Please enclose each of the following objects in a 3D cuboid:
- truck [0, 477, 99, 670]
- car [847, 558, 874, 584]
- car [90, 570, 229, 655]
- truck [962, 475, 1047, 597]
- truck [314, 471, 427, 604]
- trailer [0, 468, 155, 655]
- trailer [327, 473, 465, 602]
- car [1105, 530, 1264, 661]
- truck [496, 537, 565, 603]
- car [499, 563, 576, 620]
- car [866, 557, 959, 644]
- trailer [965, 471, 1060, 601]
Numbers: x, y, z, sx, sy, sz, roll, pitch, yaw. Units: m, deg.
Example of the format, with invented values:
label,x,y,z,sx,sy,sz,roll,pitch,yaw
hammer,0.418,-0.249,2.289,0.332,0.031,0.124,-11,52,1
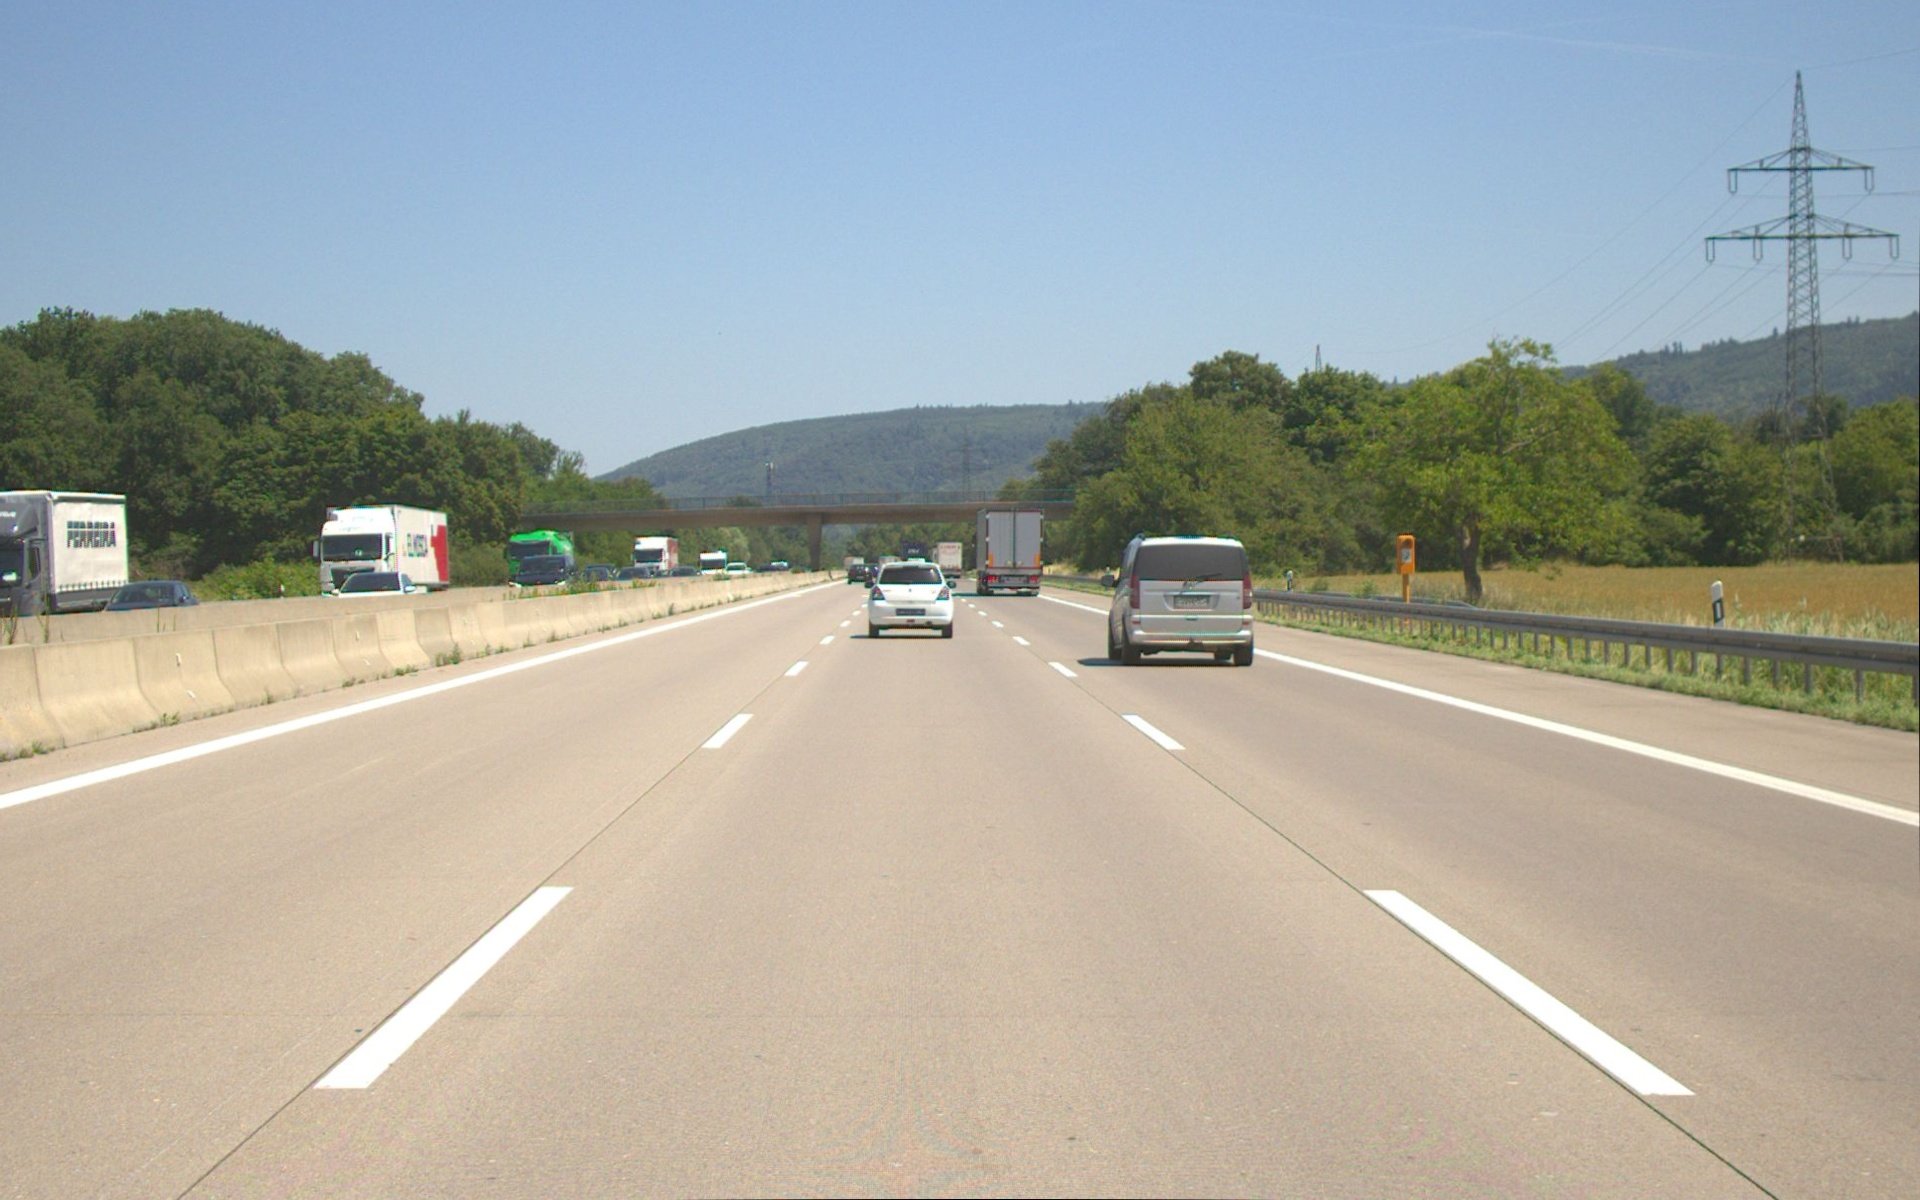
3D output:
label,x,y,z,sx,sy,sz,roll,pitch,yaw
truck,-21.120,-0.618,75.830,2.953,4.113,5.086,1,1,0
car,-7.092,-2.065,245.861,1.928,1.787,4.000,1,1,-1
car,-17.723,0.247,76.323,1.993,1.751,4.715,1,1,-1
truck,2.124,-3.109,167.075,3.720,5.791,7.054,1,1,-2
truck,-21.797,-2.320,127.421,3.082,4.745,6.498,1,1,0
trailer,-21.162,-0.937,79.828,2.953,4.091,8.484,1,1,0
trailer,-21.839,-2.442,133.977,3.082,4.745,14.374,1,1,0
car,3.297,-0.097,51.249,1.993,1.842,4.000,1,1,-1
truck,-24.122,-1.736,193.447,3.049,3.622,7.978,1,1,-1
car,-13.990,-0.312,113.980,1.993,1.789,4.467,1,1,0
car,-0.969,-0.014,69.250,1.819,1.656,4.000,0,1,-1
trailer,2.381,-2.983,160.398,3.720,5.791,12.163,1,1,-2
